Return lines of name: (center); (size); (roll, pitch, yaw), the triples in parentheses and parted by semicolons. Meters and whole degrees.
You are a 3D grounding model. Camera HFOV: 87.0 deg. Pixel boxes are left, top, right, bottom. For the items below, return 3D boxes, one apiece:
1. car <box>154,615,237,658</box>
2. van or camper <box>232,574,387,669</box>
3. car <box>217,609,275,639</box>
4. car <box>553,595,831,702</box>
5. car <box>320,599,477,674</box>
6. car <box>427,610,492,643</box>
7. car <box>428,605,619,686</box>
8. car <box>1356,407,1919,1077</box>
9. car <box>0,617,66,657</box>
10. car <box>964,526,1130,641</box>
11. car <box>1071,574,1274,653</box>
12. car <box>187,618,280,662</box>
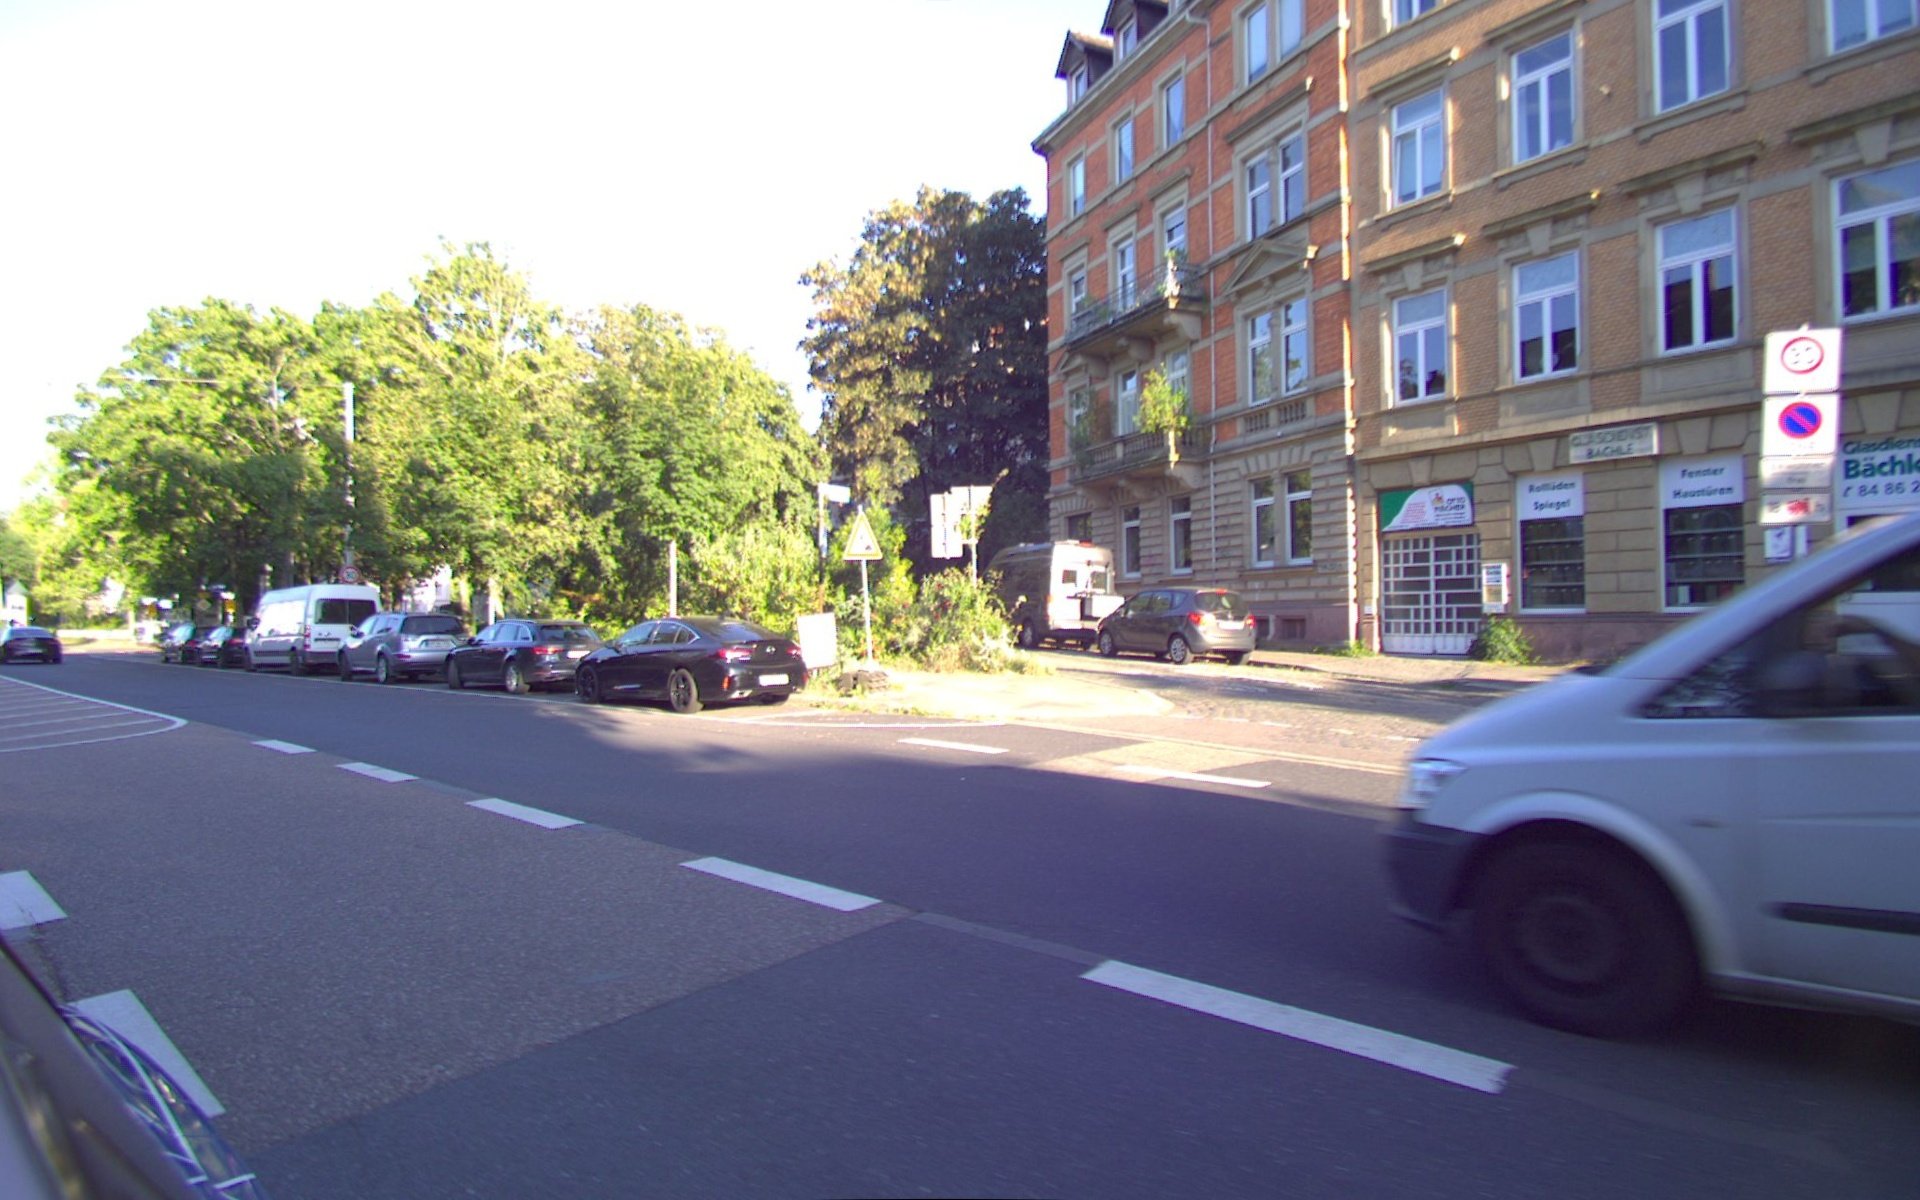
car: (-28.868, 1.337, 38.179); (4.542, 1.518, 1.606); (-1, -1, 41)
van or camper: (-19.038, 0.639, 29.477); (6.301, 2.487, 2.069); (-1, -2, 40)
car: (-45.085, 1.495, 63.891); (3.993, 1.808, 1.802); (-1, 0, 37)
car: (-4.457, 0.707, 16.387); (4.826, 1.495, 1.973); (-1, -1, 41)
car: (-13.647, 0.850, 24.497); (4.568, 1.657, 1.846); (-1, -1, 41)
car: (-31.057, 1.628, 62.728); (3.993, 1.896, 1.976); (-1, 1, 37)
car: (-8.961, 0.871, 20.580); (4.622, 1.456, 1.718); (-1, -1, 41)
car: (4.076, 0.386, 2.836); (5.168, 1.845, 1.972); (-1, -2, 42)
car: (-35.658, 1.398, 38.632); (4.542, 1.413, 1.747); (-1, -1, 41)
car: (2.166, -0.329, 27.047); (2.090, 2.760, 5.327); (0, -1, -24)
car: (4.502, 0.306, 22.186); (1.965, 1.549, 4.577); (0, -1, -26)
car: (-24.997, 1.343, 34.763); (4.239, 1.440, 1.612); (-1, -2, 40)
